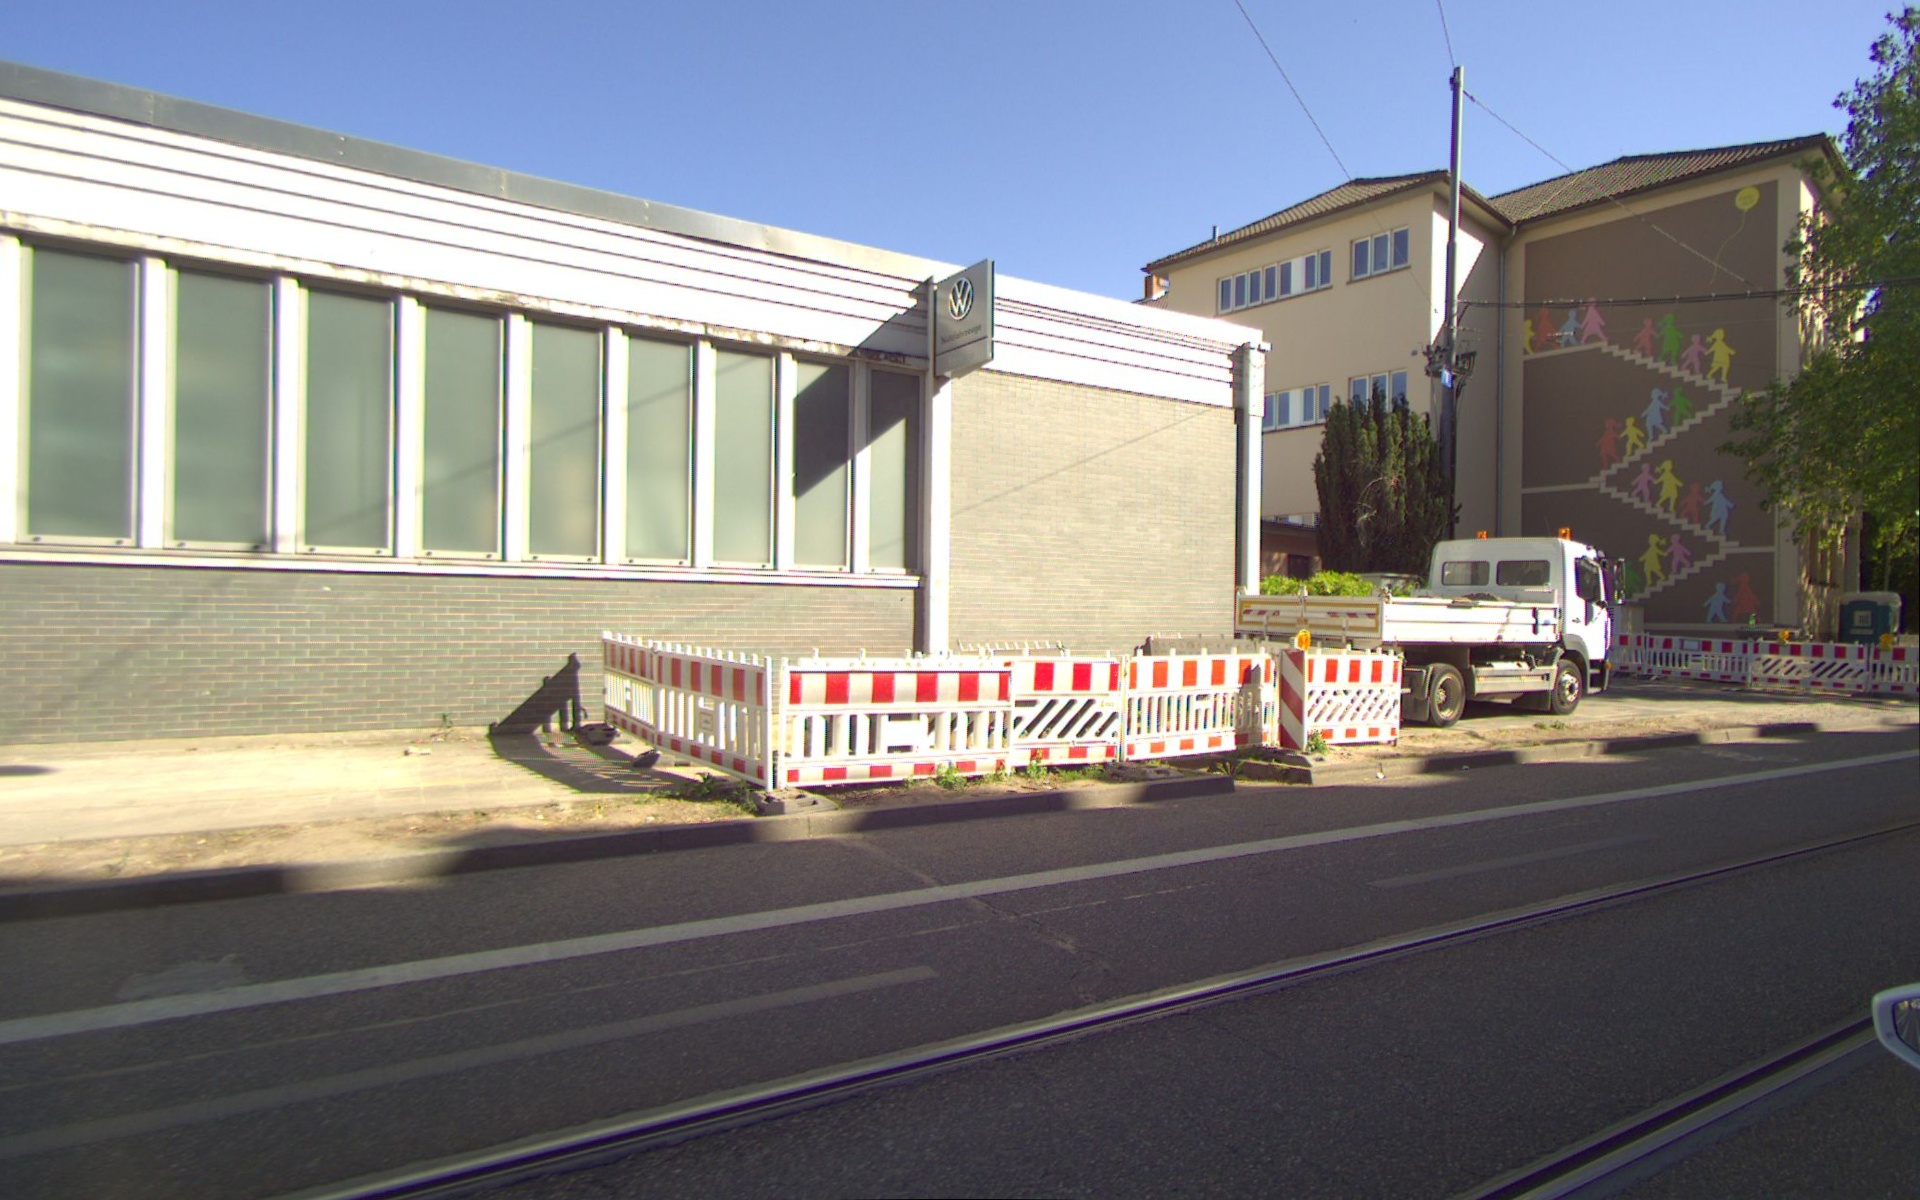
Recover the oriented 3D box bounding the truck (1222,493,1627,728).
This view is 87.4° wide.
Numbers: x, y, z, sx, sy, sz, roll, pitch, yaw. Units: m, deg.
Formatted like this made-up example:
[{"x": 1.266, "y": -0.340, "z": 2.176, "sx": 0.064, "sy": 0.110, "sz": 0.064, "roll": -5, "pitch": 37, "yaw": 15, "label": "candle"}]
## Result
[{"x": 7.088, "y": 0.182, "z": 15.041, "sx": 6.309, "sy": 2.868, "sz": 2.522, "roll": 2, "pitch": 1, "yaw": -34, "label": "truck"}]
